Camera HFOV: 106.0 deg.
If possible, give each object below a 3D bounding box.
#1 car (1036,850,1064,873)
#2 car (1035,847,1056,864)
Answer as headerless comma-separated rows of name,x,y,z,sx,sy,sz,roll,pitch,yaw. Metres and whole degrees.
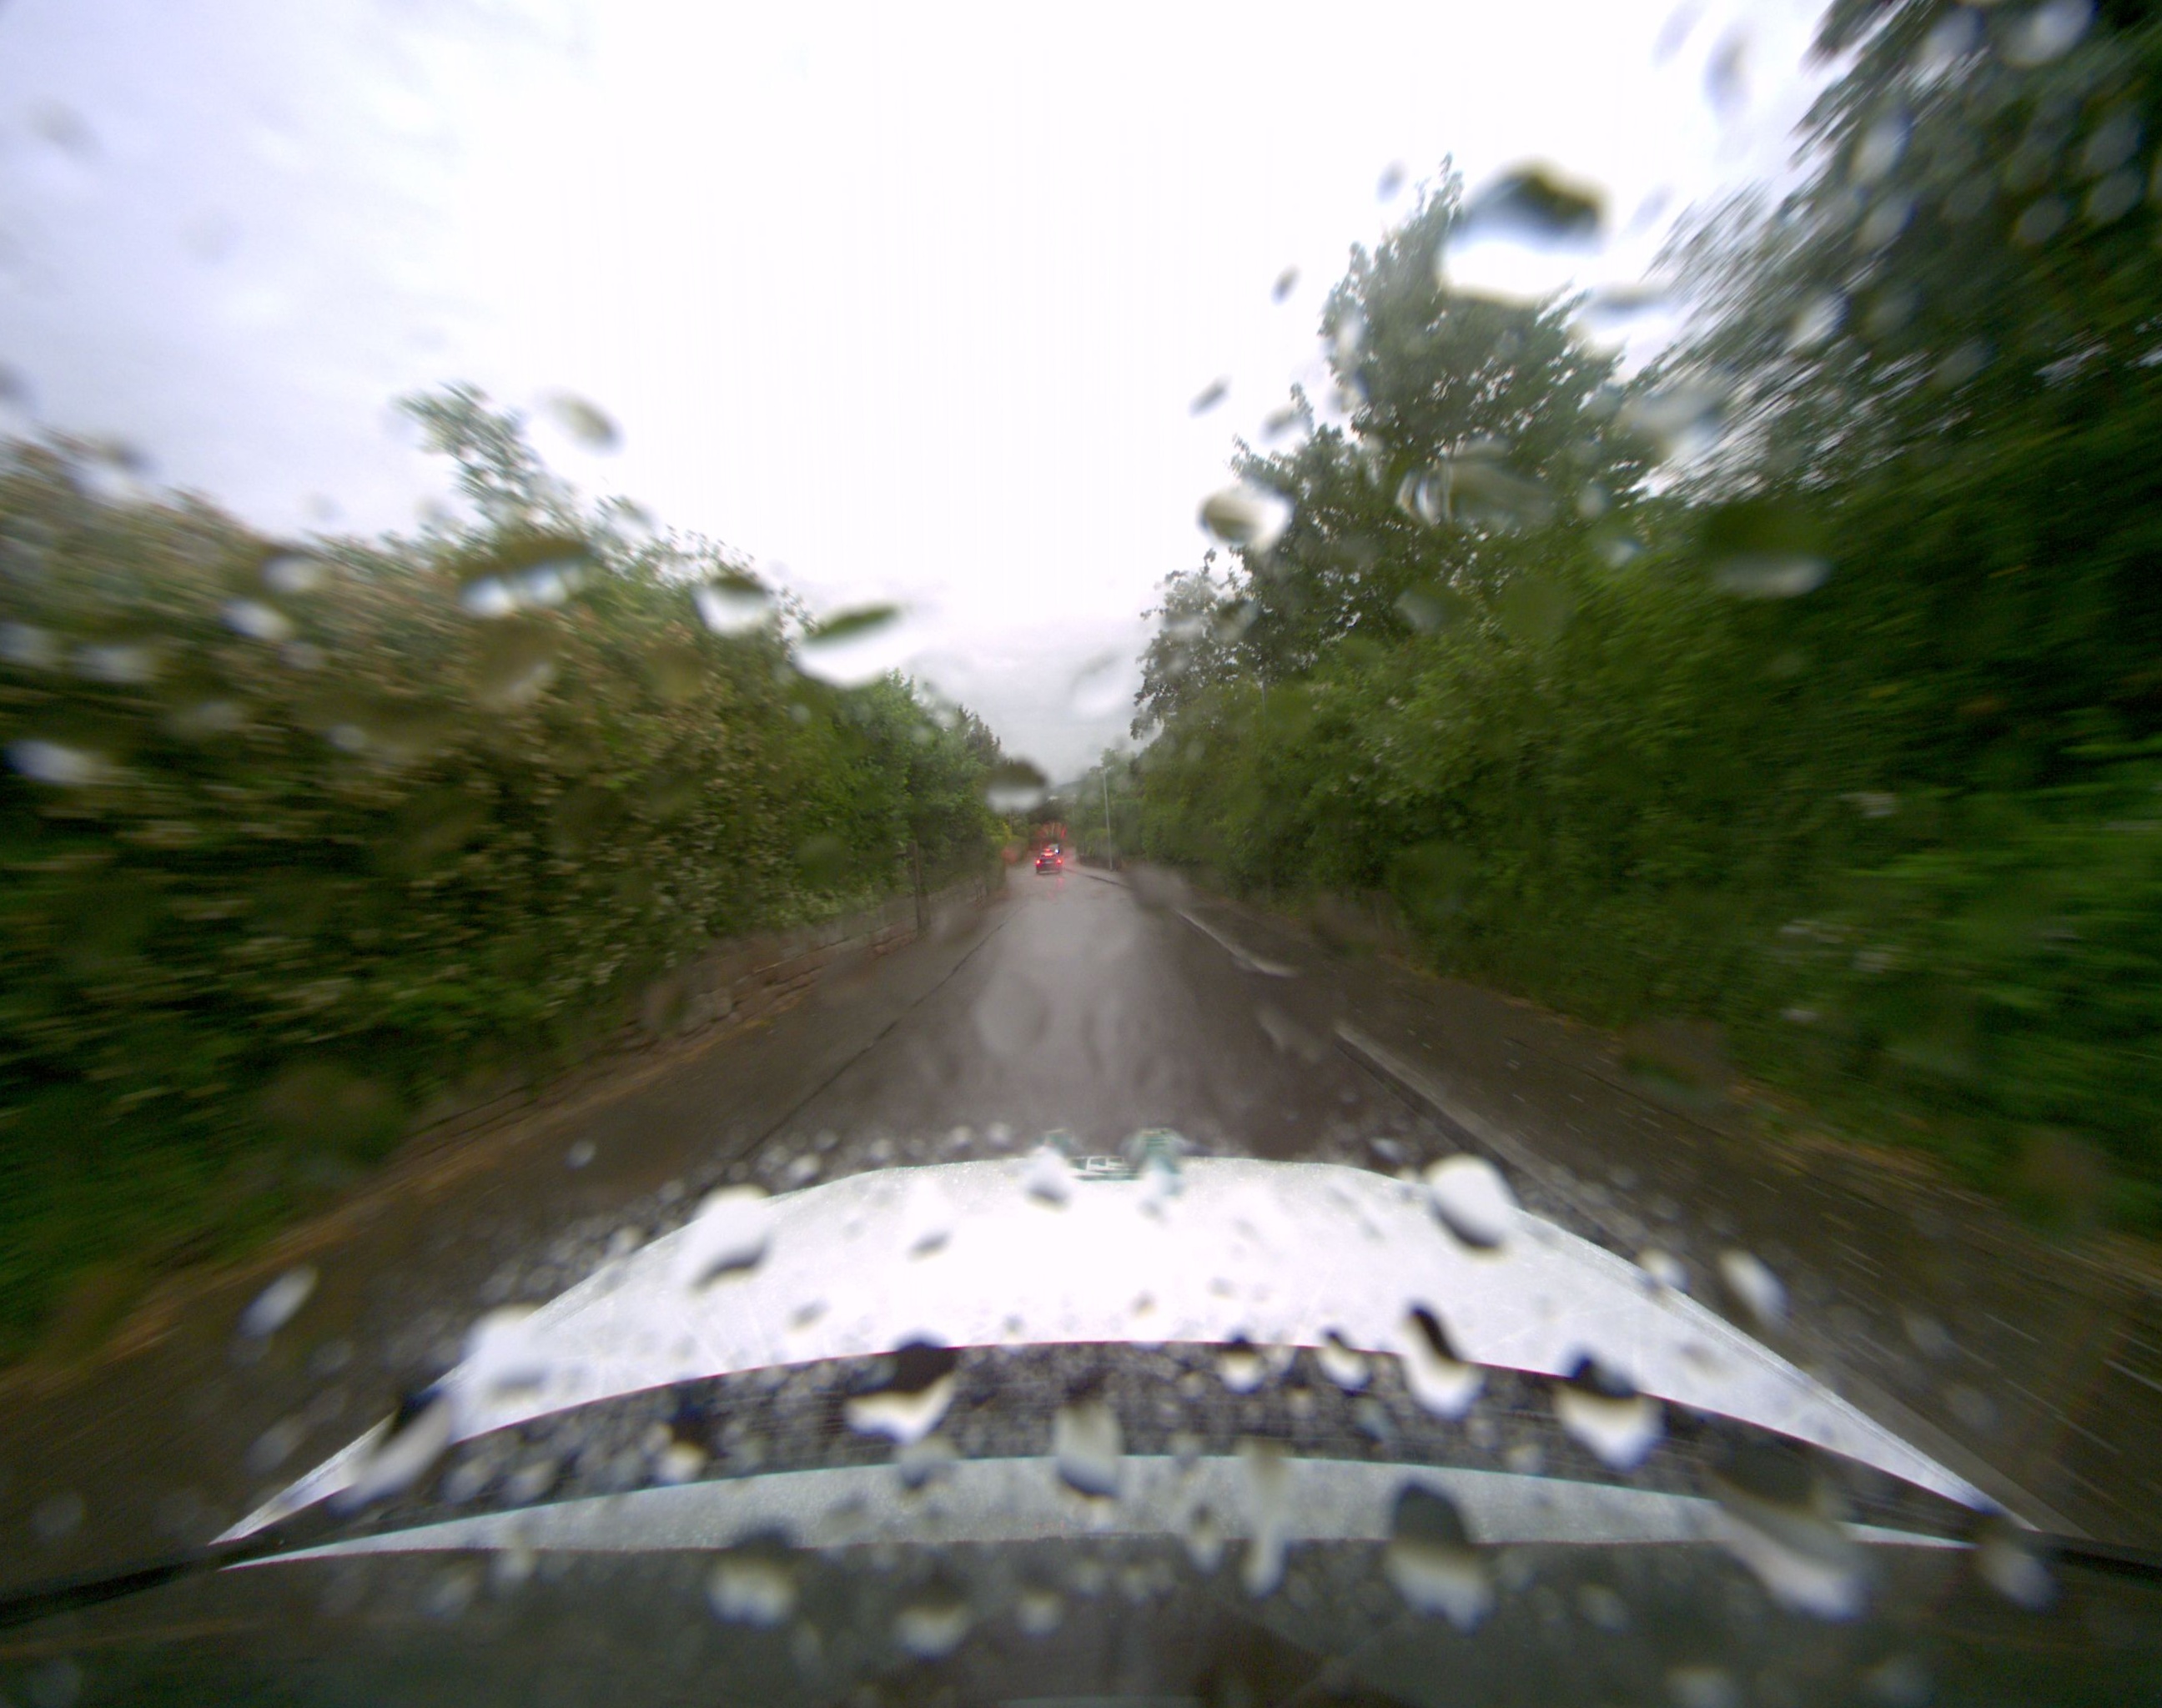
car,-2.184,0.500,56.530,1.831,1.464,3.994,-1,0,-4
car,-3.809,0.145,88.187,1.669,1.565,3.802,-2,2,6
